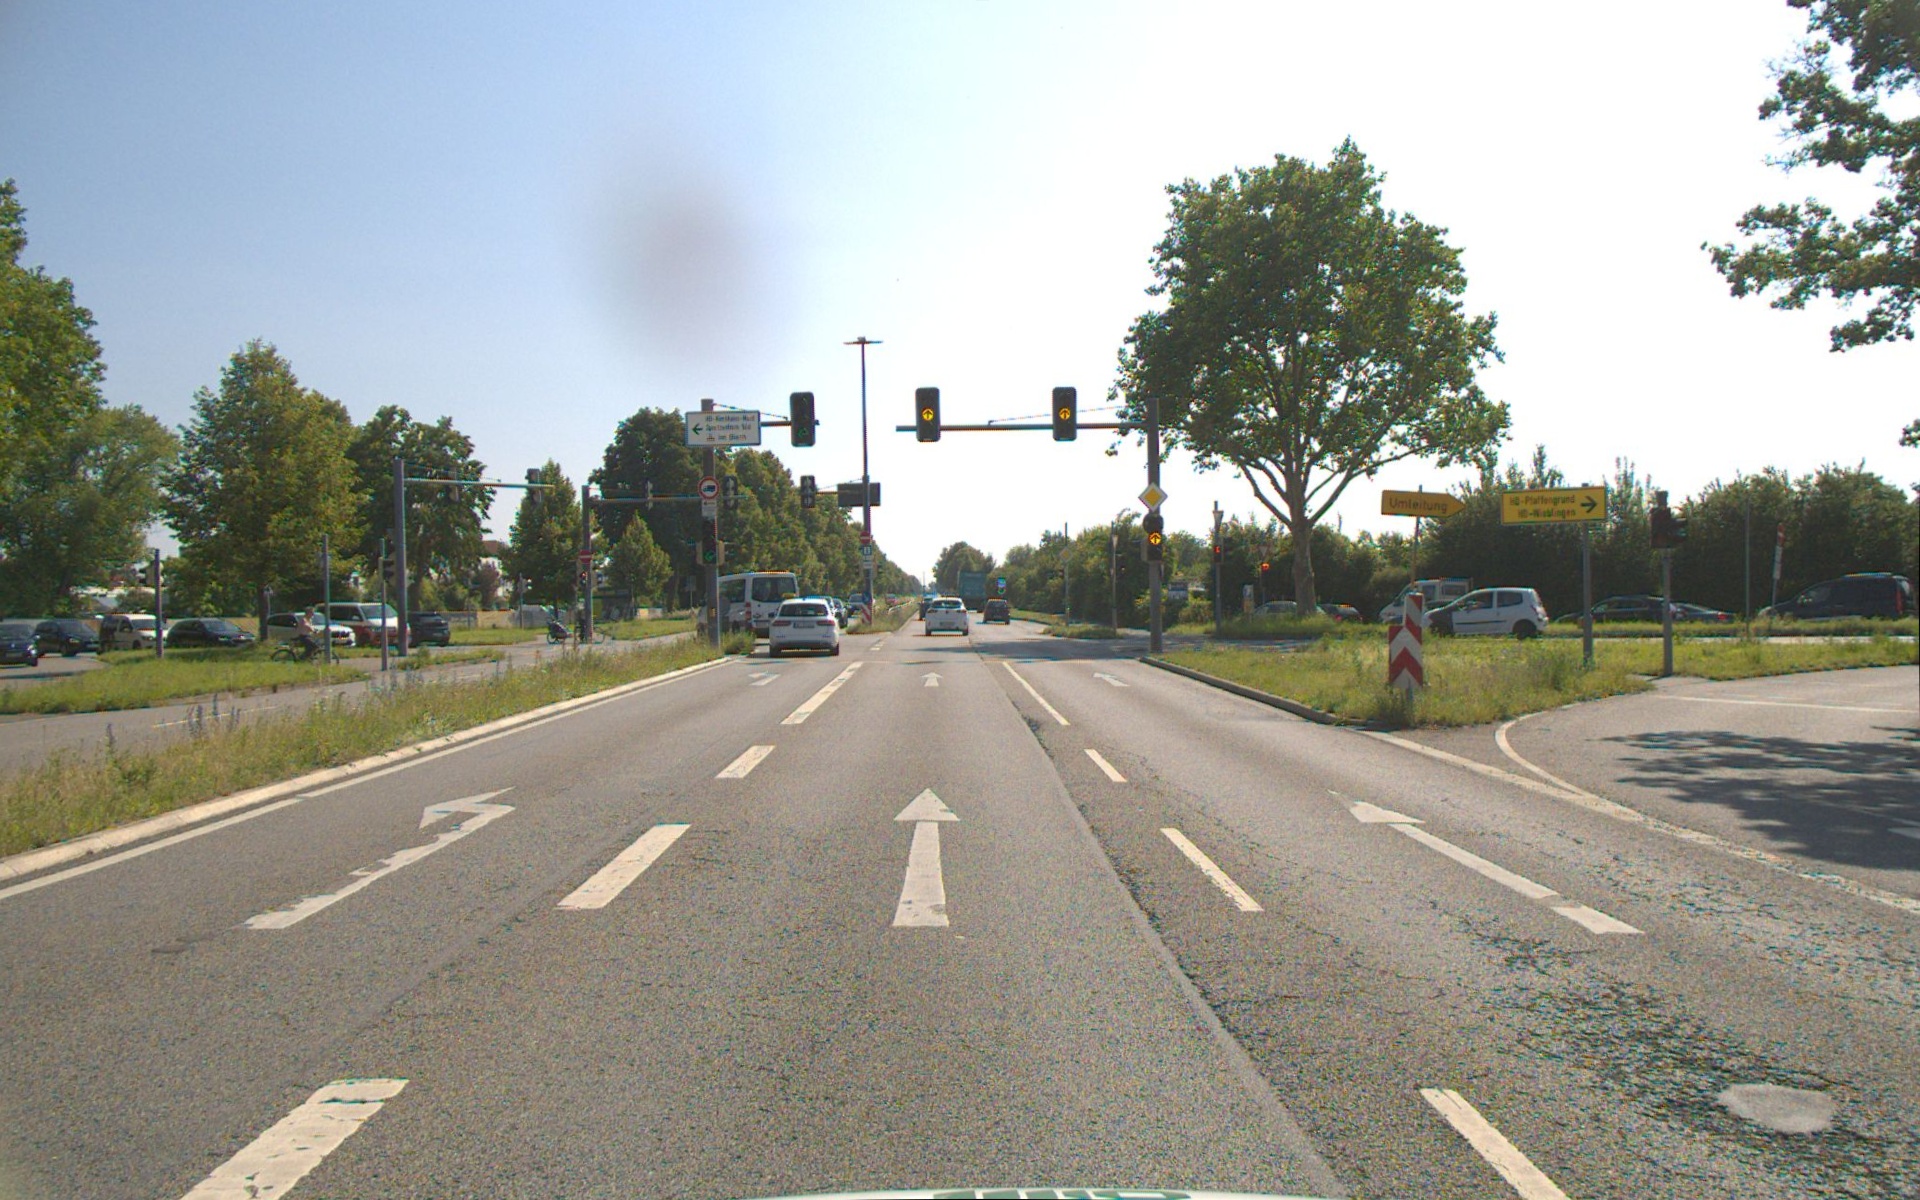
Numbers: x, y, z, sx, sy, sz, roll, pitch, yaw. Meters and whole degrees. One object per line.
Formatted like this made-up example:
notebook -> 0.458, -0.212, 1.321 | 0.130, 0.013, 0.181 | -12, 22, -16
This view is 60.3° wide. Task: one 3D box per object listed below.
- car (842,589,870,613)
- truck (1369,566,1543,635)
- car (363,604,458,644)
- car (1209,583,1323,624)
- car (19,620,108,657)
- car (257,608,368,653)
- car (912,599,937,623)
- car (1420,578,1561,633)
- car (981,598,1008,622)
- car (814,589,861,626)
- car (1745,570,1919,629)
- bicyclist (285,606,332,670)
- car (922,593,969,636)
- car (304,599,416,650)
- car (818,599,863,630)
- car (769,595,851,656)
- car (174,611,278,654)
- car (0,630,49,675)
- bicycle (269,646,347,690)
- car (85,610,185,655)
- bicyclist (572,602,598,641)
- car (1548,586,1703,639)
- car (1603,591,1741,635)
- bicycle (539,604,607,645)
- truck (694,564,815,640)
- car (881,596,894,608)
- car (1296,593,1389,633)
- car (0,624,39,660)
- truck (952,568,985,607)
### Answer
car -> -7.376, 0.066, 117.541 | 1.809, 1.622, 4.615 | -2, 0, -2
truck -> 18.774, 0.064, 62.936 | 2.316, 2.428, 6.400 | 2, -2, -33
car -> -23.752, 1.014, 71.487 | 3.917, 1.678, 1.908 | 0, 0, 34
car -> 12.180, 0.152, 66.088 | 1.973, 1.574, 4.569 | 0, 0, -31
car -> -40.596, 1.761, 74.905 | 4.041, 1.538, 1.913 | -2, 0, 35
car -> -25.155, 1.196, 64.203 | 4.180, 1.634, 1.998 | -2, 0, 35
car -> -2.232, 0.661, 105.107 | 1.540, 1.439, 3.277 | -1, 0, -1
car -> 15.076, 0.166, 47.002 | 3.667, 1.495, 1.785 | -1, 0, 24
car -> 2.098, 0.626, 100.278 | 1.540, 1.439, 3.277 | 0, -1, -1
car -> -5.715, 0.342, 77.792 | 1.969, 1.638, 4.210 | -2, 0, -1
car -> 25.983, -0.003, 49.207 | 4.392, 1.663, 1.874 | 0, -1, 44
bicyclist -> -16.172, 0.938, 41.038 | 0.829, 1.544, 0.747 | 0, 0, 4
car -> -0.558, 0.544, 64.375 | 1.762, 1.580, 4.000 | 0, 1, 0
car -> -24.606, 1.021, 67.788 | 4.560, 1.984, 1.994 | -2, 0, 35
car -> -6.081, 0.735, 84.583 | 1.779, 1.511, 4.895 | 0, 0, 2
car -> -3.964, 0.650, 44.386 | 1.775, 1.490, 4.970 | -1, 0, -1
car -> -30.024, 1.345, 67.596 | 4.180, 1.634, 1.998 | -2, 0, 35
car -> -35.043, 1.925, 61.109 | 1.977, 1.521, 4.232 | -3, 1, -35
bicycle -> -16.166, 1.677, 41.040 | 1.640, 1.060, 0.747 | 0, 0, 4
car -> -35.641, 1.408, 71.442 | 4.415, 1.832, 1.998 | -2, 0, 35
bicyclist -> -16.127, 0.915, 71.134 | 0.845, 1.647, 0.757 | 0, -1, 27
car -> 21.822, 0.407, 54.336 | 1.868, 1.663, 4.406 | 2, -1, -39
car -> 24.240, 0.464, 56.402 | 1.872, 1.445, 3.943 | 2, -2, -39
bicycle -> -16.765, 1.051, 71.561 | 2.737, 1.699, 1.135 | -2, 0, 27
truck -> -7.113, 0.052, 56.585 | 2.344, 2.430, 5.991 | -1, 1, -25
car -> -10.366, 0.283, 236.514 | 1.874, 1.528, 4.089 | -1, 0, -2
car -> 15.710, 0.562, 68.108 | 1.599, 1.574, 3.785 | 2, -1, -30
car -> -45.430, 2.001, 78.223 | 4.191, 1.634, 1.993 | -2, 0, 42
truck -> 0.746, -1.163, 155.236 | 2.833, 3.488, 9.168 | -1, 0, -1
